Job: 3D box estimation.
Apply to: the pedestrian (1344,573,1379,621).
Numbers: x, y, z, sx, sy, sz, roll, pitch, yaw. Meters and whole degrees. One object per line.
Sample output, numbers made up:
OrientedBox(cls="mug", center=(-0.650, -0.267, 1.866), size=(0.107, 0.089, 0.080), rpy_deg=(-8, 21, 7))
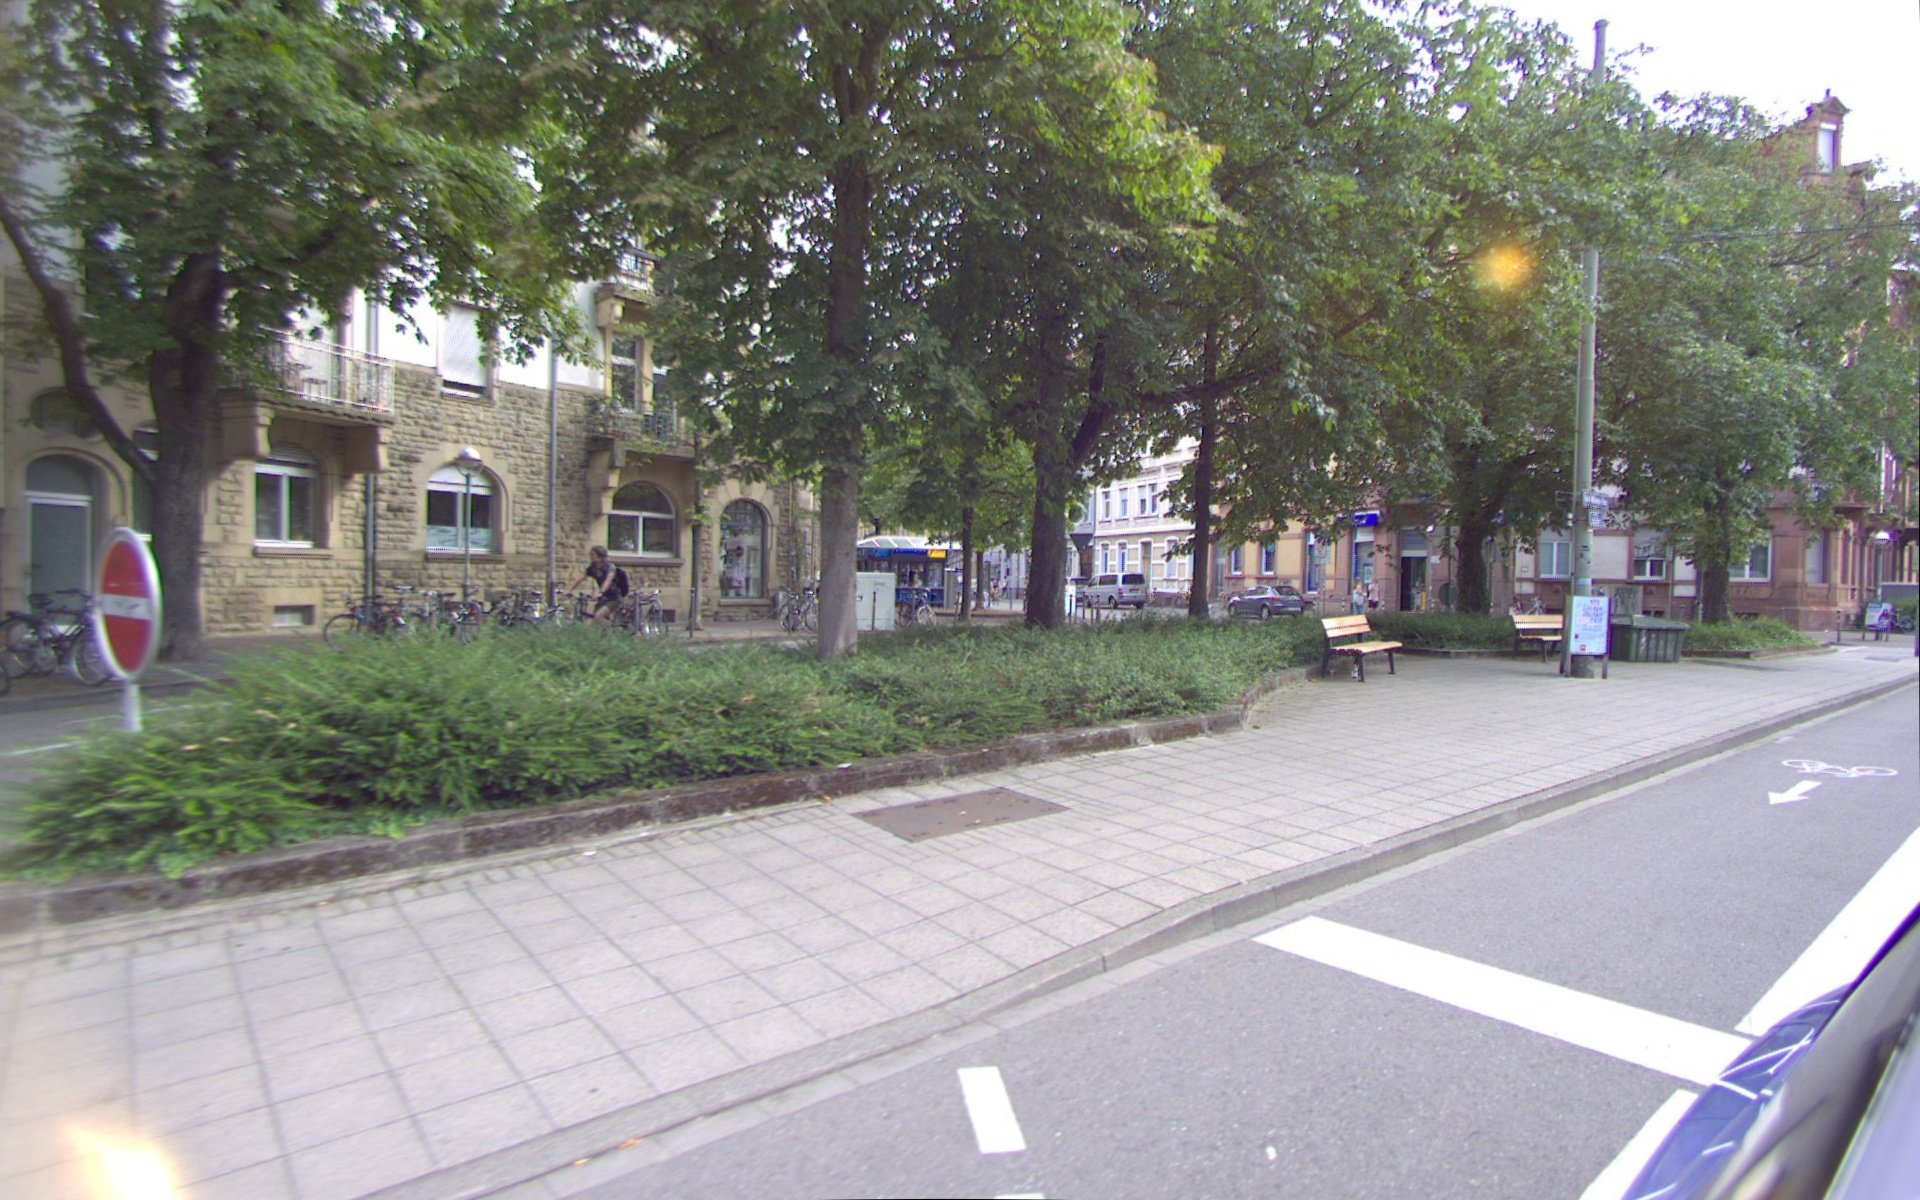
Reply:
OrientedBox(cls="pedestrian", center=(14.991, -0.113, 37.770), size=(0.875, 1.750, 0.734), rpy_deg=(2, 2, -7))

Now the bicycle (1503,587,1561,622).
OrientedBox(cls="bicycle", center=(20.493, 0.157, 36.258), size=(1.666, 1.158, 0.663), rpy_deg=(3, 2, 42))

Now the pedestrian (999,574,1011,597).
OrientedBox(cls="pedestrian", center=(3.451, -1.126, 78.021), size=(0.633, 1.776, 0.734), rpy_deg=(1, 1, -18))

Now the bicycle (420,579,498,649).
OrientedBox(cls="bicycle", center=(-8.846, 0.222, 17.840), size=(1.887, 1.142, 0.589), rpy_deg=(2, 2, 42))

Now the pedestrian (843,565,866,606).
OrientedBox(cls="pedestrian", center=(-4.307, -0.588, 41.285), size=(0.717, 1.643, 0.837), rpy_deg=(1, 1, -20))

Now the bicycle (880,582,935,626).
OrientedBox(cls="bicycle", center=(-1.487, 0.090, 28.239), size=(0.523, 1.142, 1.892), rpy_deg=(0, 2, -38))

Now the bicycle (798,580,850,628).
OrientedBox(cls="bicycle", center=(-3.509, 0.080, 25.987), size=(0.522, 1.142, 1.895), rpy_deg=(1, 2, -34))

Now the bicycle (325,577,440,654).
OrientedBox(cls="bicycle", center=(-9.469, 0.231, 16.584), size=(1.870, 1.141, 0.529), rpy_deg=(3, 2, 20))

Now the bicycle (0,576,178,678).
OrientedBox(cls="bicycle", center=(-10.463, 0.303, 12.035), size=(1.859, 1.142, 0.667), rpy_deg=(1, 1, 3))

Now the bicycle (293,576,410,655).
OrientedBox(cls="bicycle", center=(-9.669, 0.233, 16.074), size=(1.870, 1.142, 0.529), rpy_deg=(3, 1, 20))

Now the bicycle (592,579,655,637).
OrientedBox(cls="bicycle", center=(-7.110, 0.147, 21.350), size=(0.524, 1.142, 1.890), rpy_deg=(0, 2, -43))

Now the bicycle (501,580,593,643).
OrientedBox(cls="bicycle", center=(-8.048, 0.194, 19.700), size=(1.876, 1.142, 0.589), rpy_deg=(2, 1, 28))

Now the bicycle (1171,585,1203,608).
OrientedBox(cls="bicycle", center=(12.066, -0.209, 53.889), size=(0.659, 1.135, 1.944), rpy_deg=(1, 1, -21))

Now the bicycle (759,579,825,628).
OrientedBox(cls="bicycle", center=(-4.258, 0.076, 25.502), size=(1.885, 1.142, 0.525), rpy_deg=(2, 1, 40))

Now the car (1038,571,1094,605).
OrientedBox(cls="car", center=(6.316, -0.751, 60.800), size=(1.780, 1.967, 4.165), rpy_deg=(1, 1, -19))

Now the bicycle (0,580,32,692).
OrientedBox(cls="bicycle", center=(-10.718, 0.349, 10.445), size=(1.859, 1.142, 0.532), rpy_deg=(1, 1, 3))

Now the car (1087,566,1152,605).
OrientedBox(cls="car", center=(8.661, -0.835, 55.184), size=(1.829, 2.005, 4.009), rpy_deg=(1, 1, -19))

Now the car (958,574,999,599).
OrientedBox(cls="car", center=(1.373, -1.044, 76.574), size=(1.780, 1.771, 4.009), rpy_deg=(1, 1, -19))

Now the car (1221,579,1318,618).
OrientedBox(cls="car", center=(12.668, -0.086, 41.651), size=(1.780, 1.459, 4.009), rpy_deg=(1, 1, -19))

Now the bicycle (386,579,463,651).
OrientedBox(cls="bicycle", center=(-9.196, 0.228, 17.358), size=(1.887, 1.142, 0.554), rpy_deg=(2, 2, 42))

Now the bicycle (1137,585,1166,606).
OrientedBox(cls="bicycle", center=(10.893, -0.270, 57.673), size=(0.659, 1.135, 1.944), rpy_deg=(1, 1, -21))

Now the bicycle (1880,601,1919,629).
OrientedBox(cls="bicycle", center=(34.713, 0.567, 37.151), size=(1.518, 0.981, 0.511), rpy_deg=(1, 1, -7))

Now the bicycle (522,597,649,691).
OrientedBox(cls="bicycle", center=(-5.264, 0.577, 14.382), size=(0.645, 1.166, 2.095), rpy_deg=(2, 1, 13))

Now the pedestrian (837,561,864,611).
OrientedBox(cls="pedestrian", center=(-3.749, -0.481, 34.538), size=(0.717, 1.696, 0.837), rpy_deg=(1, 1, -20))

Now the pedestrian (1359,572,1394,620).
OrientedBox(cls="pedestrian", center=(15.793, -0.145, 38.413), size=(0.741, 1.750, 0.895), rpy_deg=(2, 2, -16))

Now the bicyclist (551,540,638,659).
OrientedBox(cls="bicyclist", center=(-5.217, -0.026, 14.508), size=(0.637, 1.626, 1.135), rpy_deg=(2, 1, 13))

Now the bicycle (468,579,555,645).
OrientedBox(cls="bicycle", center=(-8.426, 0.203, 18.982), size=(1.881, 1.142, 0.575), rpy_deg=(2, 1, 34))

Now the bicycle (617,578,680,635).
OrientedBox(cls="bicycle", center=(-6.723, 0.126, 21.786), size=(0.524, 1.142, 1.890), rpy_deg=(0, 2, -43))
